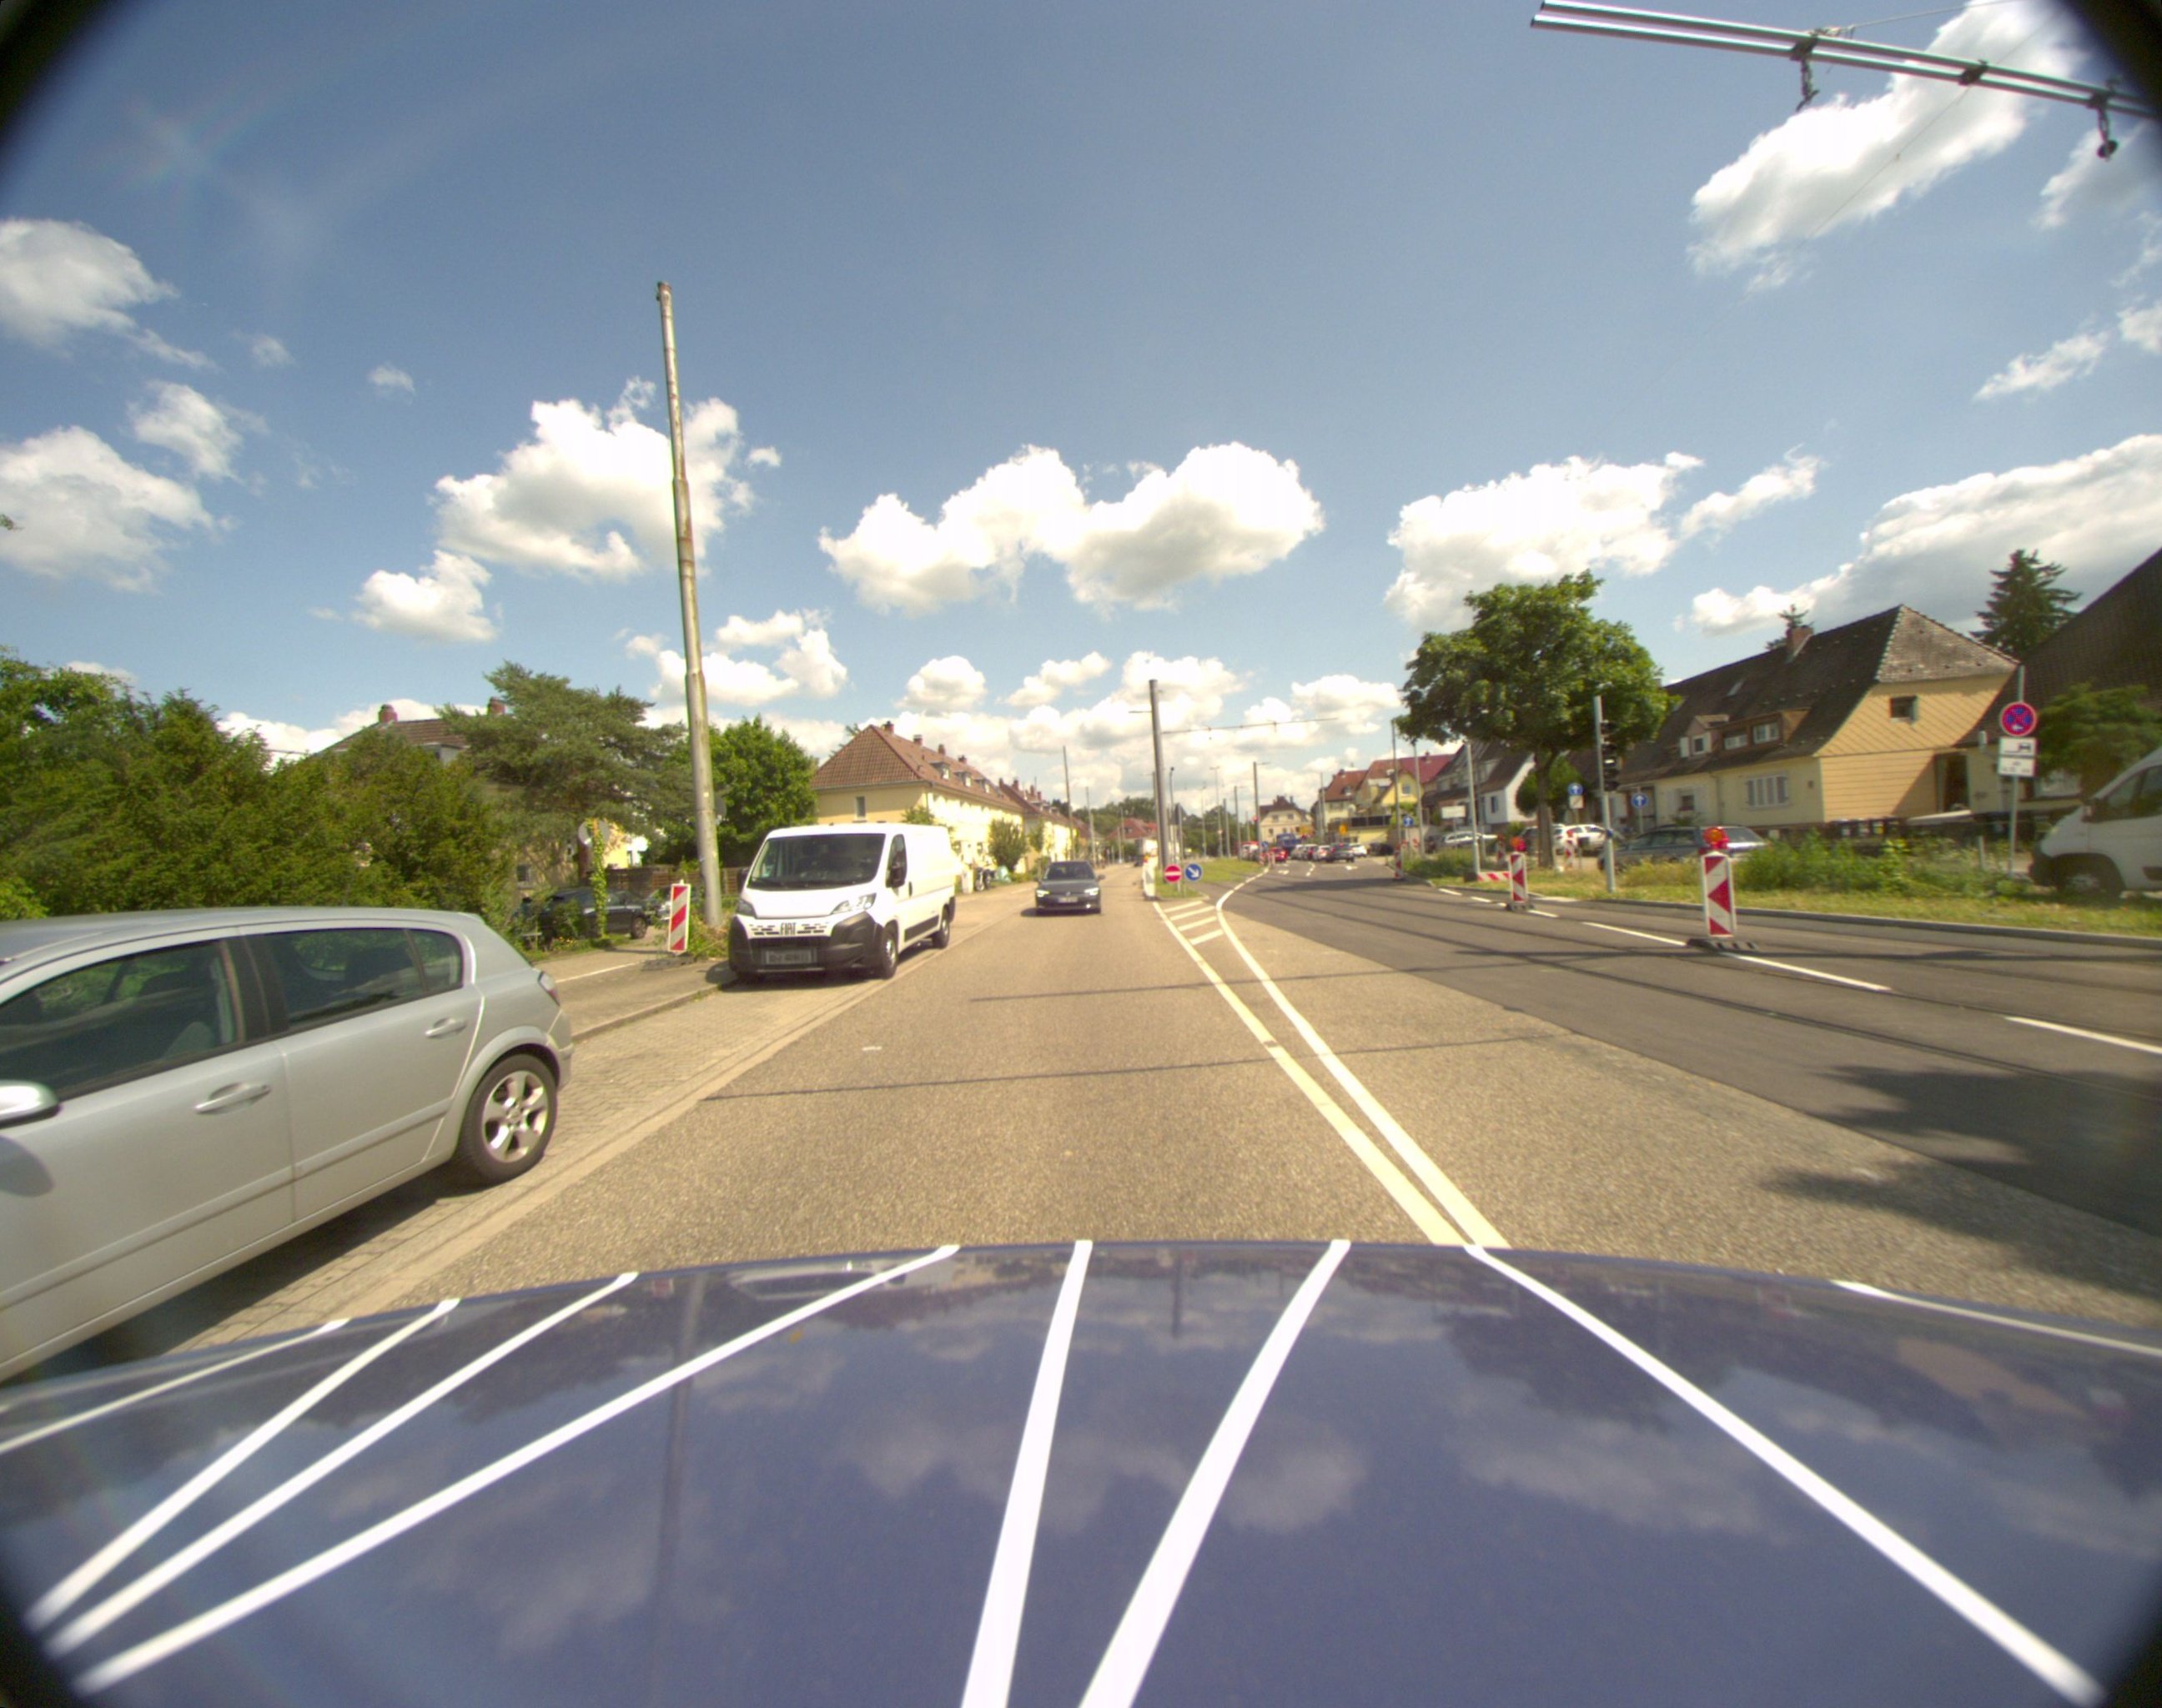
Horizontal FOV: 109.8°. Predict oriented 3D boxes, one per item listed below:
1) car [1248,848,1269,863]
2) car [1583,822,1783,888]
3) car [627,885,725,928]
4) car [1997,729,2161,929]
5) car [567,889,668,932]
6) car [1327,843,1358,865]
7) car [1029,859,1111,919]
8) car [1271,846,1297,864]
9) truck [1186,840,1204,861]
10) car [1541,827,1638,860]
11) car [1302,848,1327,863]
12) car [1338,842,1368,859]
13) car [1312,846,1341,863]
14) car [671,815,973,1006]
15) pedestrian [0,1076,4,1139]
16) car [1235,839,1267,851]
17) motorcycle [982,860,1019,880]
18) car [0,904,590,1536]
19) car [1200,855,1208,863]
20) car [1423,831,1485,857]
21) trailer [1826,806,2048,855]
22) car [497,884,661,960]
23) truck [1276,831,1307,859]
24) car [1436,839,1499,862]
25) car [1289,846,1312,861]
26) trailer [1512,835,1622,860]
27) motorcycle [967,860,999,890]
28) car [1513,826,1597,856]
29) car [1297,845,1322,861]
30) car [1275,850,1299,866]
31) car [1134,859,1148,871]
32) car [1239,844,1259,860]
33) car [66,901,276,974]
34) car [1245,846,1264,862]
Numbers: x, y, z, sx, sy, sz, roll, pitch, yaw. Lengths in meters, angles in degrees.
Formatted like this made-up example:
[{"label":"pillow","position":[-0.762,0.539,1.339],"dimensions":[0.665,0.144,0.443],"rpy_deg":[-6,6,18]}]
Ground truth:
[{"label":"car","position":[20.028,0.158,85.803],"dimensions":[1.729,1.553,4.544],"rpy_deg":[-3,0,7]},{"label":"car","position":[15.865,0.035,20.423],"dimensions":[1.696,1.456,4.756],"rpy_deg":[-3,0,3]},{"label":"car","position":[-15.421,1.973,29.184],"dimensions":[1.564,1.389,3.934],"rpy_deg":[-3,-1,1]},{"label":"car","position":[15.369,-0.388,9.357],"dimensions":[2.158,2.653,4.916],"rpy_deg":[-3,0,1]},{"label":"car","position":[-17.881,2.145,29.505],"dimensions":[1.543,1.403,3.934],"rpy_deg":[-2,-1,-1]},{"label":"car","position":[20.481,-0.011,59.664],"dimensions":[1.728,1.518,4.775],"rpy_deg":[-3,0,13]},{"label":"car","position":[-0.199,0.929,22.121],"dimensions":[1.741,1.513,4.704],"rpy_deg":[-2,0,7]},{"label":"car","position":[19.074,0.051,71.460],"dimensions":[1.729,1.553,4.544],"rpy_deg":[-3,0,8]},{"label":"truck","position":[30.534,-0.886,202.982],"dimensions":[3.473,5.153,14.230],"rpy_deg":[-3,0,12]},{"label":"car","position":[27.345,-0.557,40.932],"dimensions":[3.960,1.535,1.761],"rpy_deg":[-3,0,-1]},{"label":"car","position":[22.600,0.128,73.726],"dimensions":[1.728,1.327,4.545],"rpy_deg":[-3,0,10]},{"label":"car","position":[26.409,-0.338,73.926],"dimensions":[1.729,1.553,4.544],"rpy_deg":[-3,0,8]},{"label":"car","position":[21.510,0.009,66.688],"dimensions":[1.728,1.327,4.545],"rpy_deg":[-3,0,10]},{"label":"car","position":[-3.526,0.693,12.166],"dimensions":[2.282,2.170,6.369],"rpy_deg":[-3,0,3]},{"label":"pedestrian","position":[-7.780,0.953,4.790],"dimensions":[0.774,2.002,0.761],"rpy_deg":[-3,0,0]},{"label":"car","position":[29.861,-1.530,133.824],"dimensions":[2.291,1.861,4.972],"rpy_deg":[-3,0,-43]},{"label":"motorcycle","position":[-5.267,1.041,49.803],"dimensions":[2.232,1.190,0.855],"rpy_deg":[-3,0,8]},{"label":"car","position":[-3.693,1.059,2.253],"dimensions":[1.712,1.495,4.254],"rpy_deg":[-3,0,-1]},{"label":"car","position":[35.651,1.448,219.523],"dimensions":[2.059,1.996,4.953],"rpy_deg":[-3,0,11]},{"label":"car","position":[29.974,-0.750,61.091],"dimensions":[3.996,1.835,1.803],"rpy_deg":[-3,0,4]},{"label":"trailer","position":[30.458,-0.806,27.188],"dimensions":[5.266,1.385,2.025],"rpy_deg":[-3,0,6]},{"label":"car","position":[-12.894,1.672,19.834],"dimensions":[1.632,1.538,3.809],"rpy_deg":[-3,0,1]},{"label":"truck","position":[26.171,-1.079,94.780],"dimensions":[2.841,3.135,7.939],"rpy_deg":[-3,0,10]},{"label":"car","position":[29.548,-0.267,58.163],"dimensions":[3.887,1.546,1.682],"rpy_deg":[-3,0,4]},{"label":"car","position":[25.007,-0.077,86.700],"dimensions":[1.729,1.553,4.544],"rpy_deg":[-3,0,7]},{"label":"trailer","position":[27.735,-0.361,43.494],"dimensions":[4.932,1.118,1.961],"rpy_deg":[-3,0,3]},{"label":"motorcycle","position":[-4.923,1.031,38.403],"dimensions":[1.049,1.461,2.586],"rpy_deg":[-1,0,6]},{"label":"car","position":[28.533,-0.752,45.851],"dimensions":[3.891,1.535,1.707],"rpy_deg":[-3,0,8]},{"label":"car","position":[24.159,-0.114,80.419],"dimensions":[1.729,1.553,4.544],"rpy_deg":[-3,0,8]},{"label":"car","position":[20.846,0.380,76.956],"dimensions":[1.729,1.553,4.647],"rpy_deg":[-3,0,8]},{"label":"car","position":[8.626,1.623,109.149],"dimensions":[1.878,1.543,4.987],"rpy_deg":[-3,0,6]},{"label":"car","position":[22.051,-0.258,99.840],"dimensions":[1.922,1.953,4.544],"rpy_deg":[-3,0,7]},{"label":"car","position":[-26.707,2.415,22.386],"dimensions":[4.120,1.679,1.734],"rpy_deg":[-3,3,4]},{"label":"car","position":[21.075,-0.021,92.589],"dimensions":[1.729,1.843,4.544],"rpy_deg":[-3,0,7]}]
